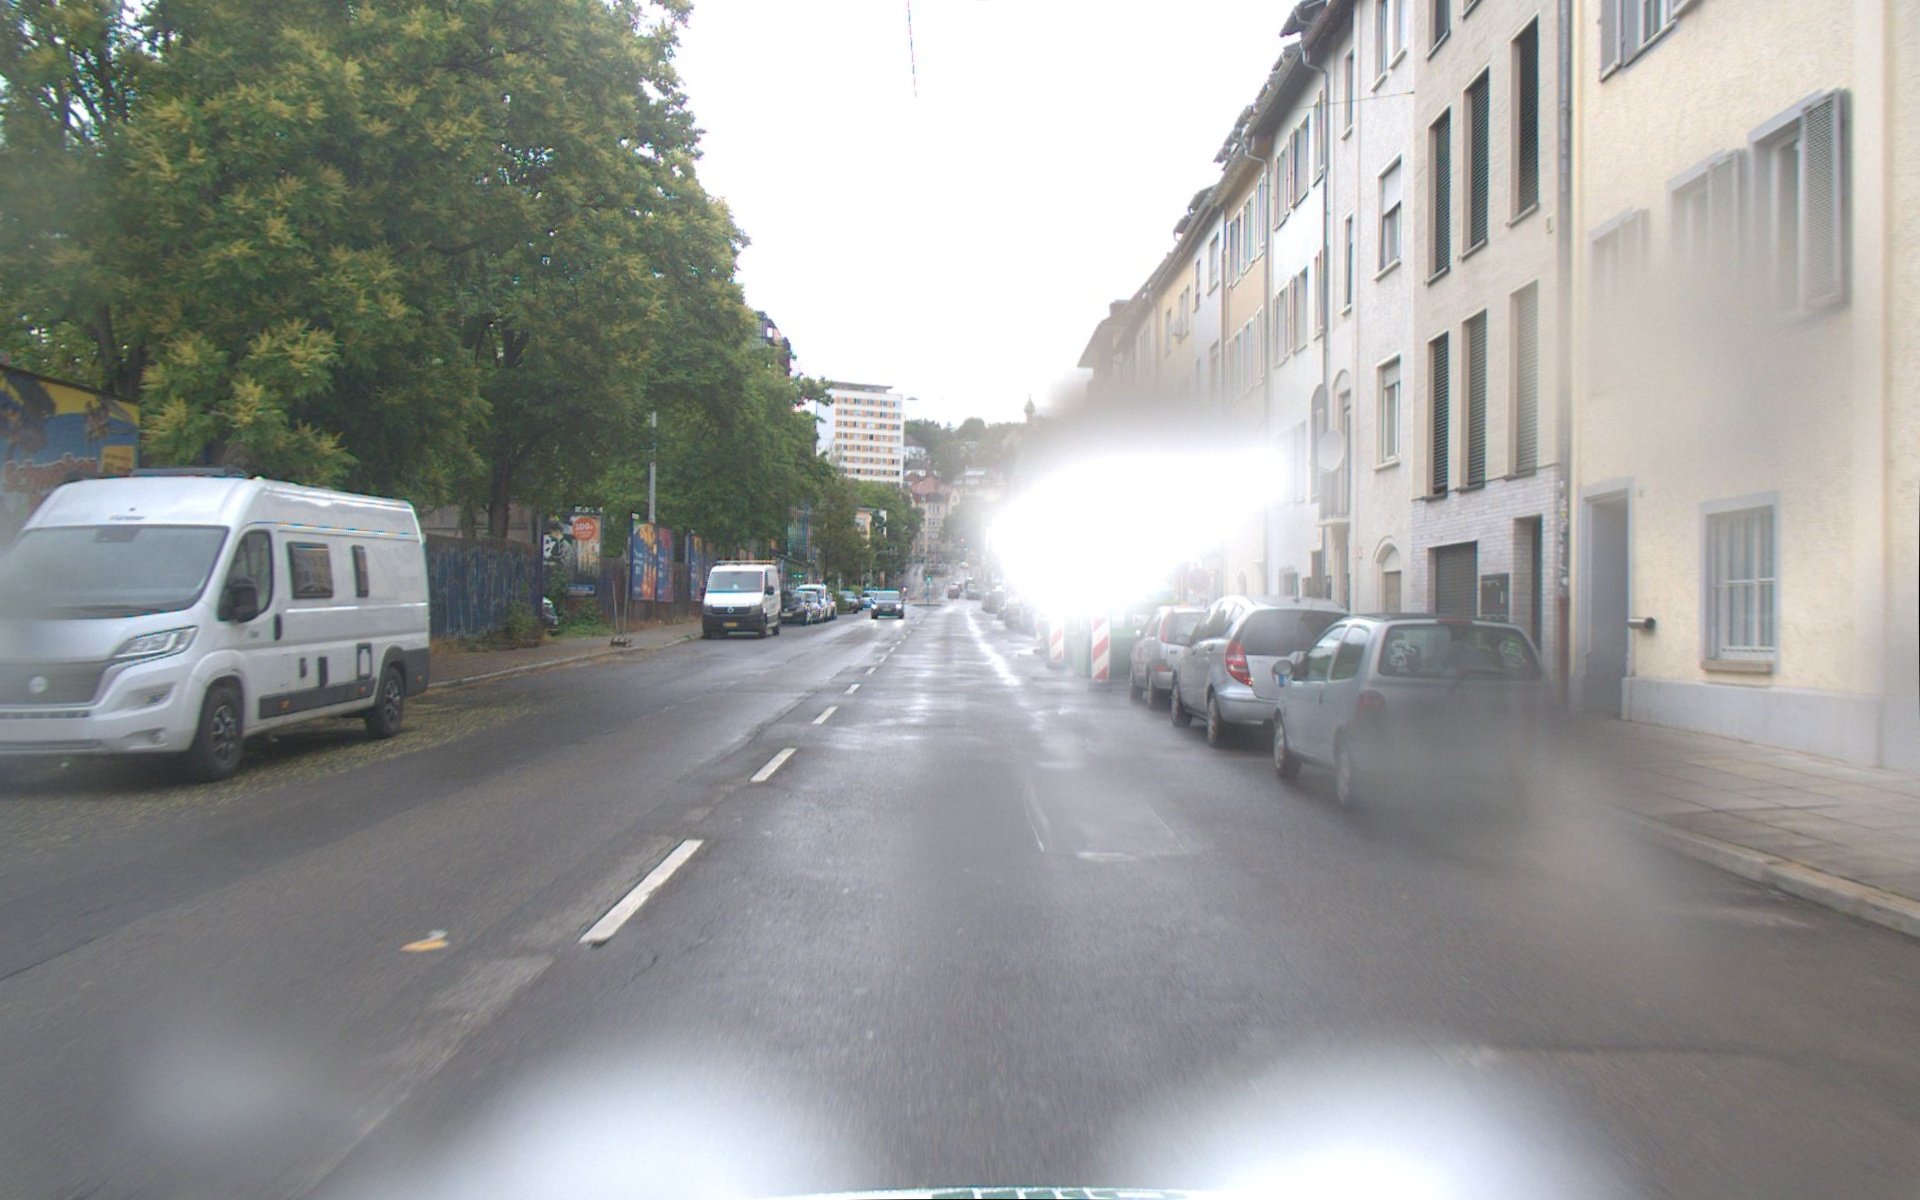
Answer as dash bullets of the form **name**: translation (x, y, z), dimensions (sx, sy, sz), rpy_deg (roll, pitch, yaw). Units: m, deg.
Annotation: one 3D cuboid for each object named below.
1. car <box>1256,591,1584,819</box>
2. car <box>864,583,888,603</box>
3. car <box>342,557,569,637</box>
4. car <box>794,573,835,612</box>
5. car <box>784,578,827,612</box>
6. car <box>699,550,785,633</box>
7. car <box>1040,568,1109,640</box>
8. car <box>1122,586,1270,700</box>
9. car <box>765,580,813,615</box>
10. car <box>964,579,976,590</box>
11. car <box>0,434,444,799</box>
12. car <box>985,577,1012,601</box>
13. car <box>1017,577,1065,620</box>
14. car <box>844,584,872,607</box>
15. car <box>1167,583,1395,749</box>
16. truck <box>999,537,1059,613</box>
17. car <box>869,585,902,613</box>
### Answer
- **car**: translation (3.562, 0.728, 13.477), dimensions (1.527, 1.479, 3.759), rpy_deg (2, 1, -1)
- **car**: translation (-6.359, -0.554, 125.171), dimensions (1.675, 1.476, 4.293), rpy_deg (0, 0, -1)
- **car**: translation (-13.370, -0.109, 44.095), dimensions (5.389, 2.044, 2.145), rpy_deg (0, 1, -3)
- **car**: translation (-7.124, -0.368, 81.089), dimensions (1.688, 1.831, 4.343), rpy_deg (0, 0, -1)
- **car**: translation (-7.073, -0.239, 76.002), dimensions (1.648, 1.488, 4.276), rpy_deg (0, 0, -1)
- **car**: translation (-7.044, -0.324, 54.116), dimensions (1.970, 2.530, 5.984), rpy_deg (0, 1, 0)
- **car**: translation (3.275, 0.077, 48.031), dimensions (1.780, 1.957, 4.240), rpy_deg (1, 1, 1)
- **car**: translation (3.386, 0.572, 24.338), dimensions (1.593, 1.435, 3.842), rpy_deg (2, 1, 0)
- **car**: translation (-7.146, -0.122, 69.368), dimensions (1.648, 1.423, 3.909), rpy_deg (0, 0, -1)
- **car**: translation (1.604, -2.396, 254.717), dimensions (1.696, 1.682, 4.002), rpy_deg (-1, 1, 3)
- **car**: translation (-6.833, 0.065, 15.252), dimensions (2.185, 2.623, 6.536), rpy_deg (-1, 1, -1)
- **car**: translation (2.796, -0.810, 119.946), dimensions (1.781, 1.681, 4.076), rpy_deg (2, 1, -1)
- **car**: translation (3.108, -0.077, 64.255), dimensions (1.629, 1.600, 4.098), rpy_deg (1, 1, 0)
- **car**: translation (-6.766, -0.308, 110.392), dimensions (1.767, 1.476, 4.656), rpy_deg (0, 0, -2)
- **car**: translation (3.477, 0.647, 18.644), dimensions (1.681, 1.551, 4.000), rpy_deg (2, 1, -1)
- **truck**: translation (3.029, -1.122, 74.272), dimensions (2.419, 3.227, 7.036), rpy_deg (1, 1, 0)
- **car**: translation (-4.087, -0.067, 91.475), dimensions (1.769, 1.440, 4.382), rpy_deg (0, 1, -2)
